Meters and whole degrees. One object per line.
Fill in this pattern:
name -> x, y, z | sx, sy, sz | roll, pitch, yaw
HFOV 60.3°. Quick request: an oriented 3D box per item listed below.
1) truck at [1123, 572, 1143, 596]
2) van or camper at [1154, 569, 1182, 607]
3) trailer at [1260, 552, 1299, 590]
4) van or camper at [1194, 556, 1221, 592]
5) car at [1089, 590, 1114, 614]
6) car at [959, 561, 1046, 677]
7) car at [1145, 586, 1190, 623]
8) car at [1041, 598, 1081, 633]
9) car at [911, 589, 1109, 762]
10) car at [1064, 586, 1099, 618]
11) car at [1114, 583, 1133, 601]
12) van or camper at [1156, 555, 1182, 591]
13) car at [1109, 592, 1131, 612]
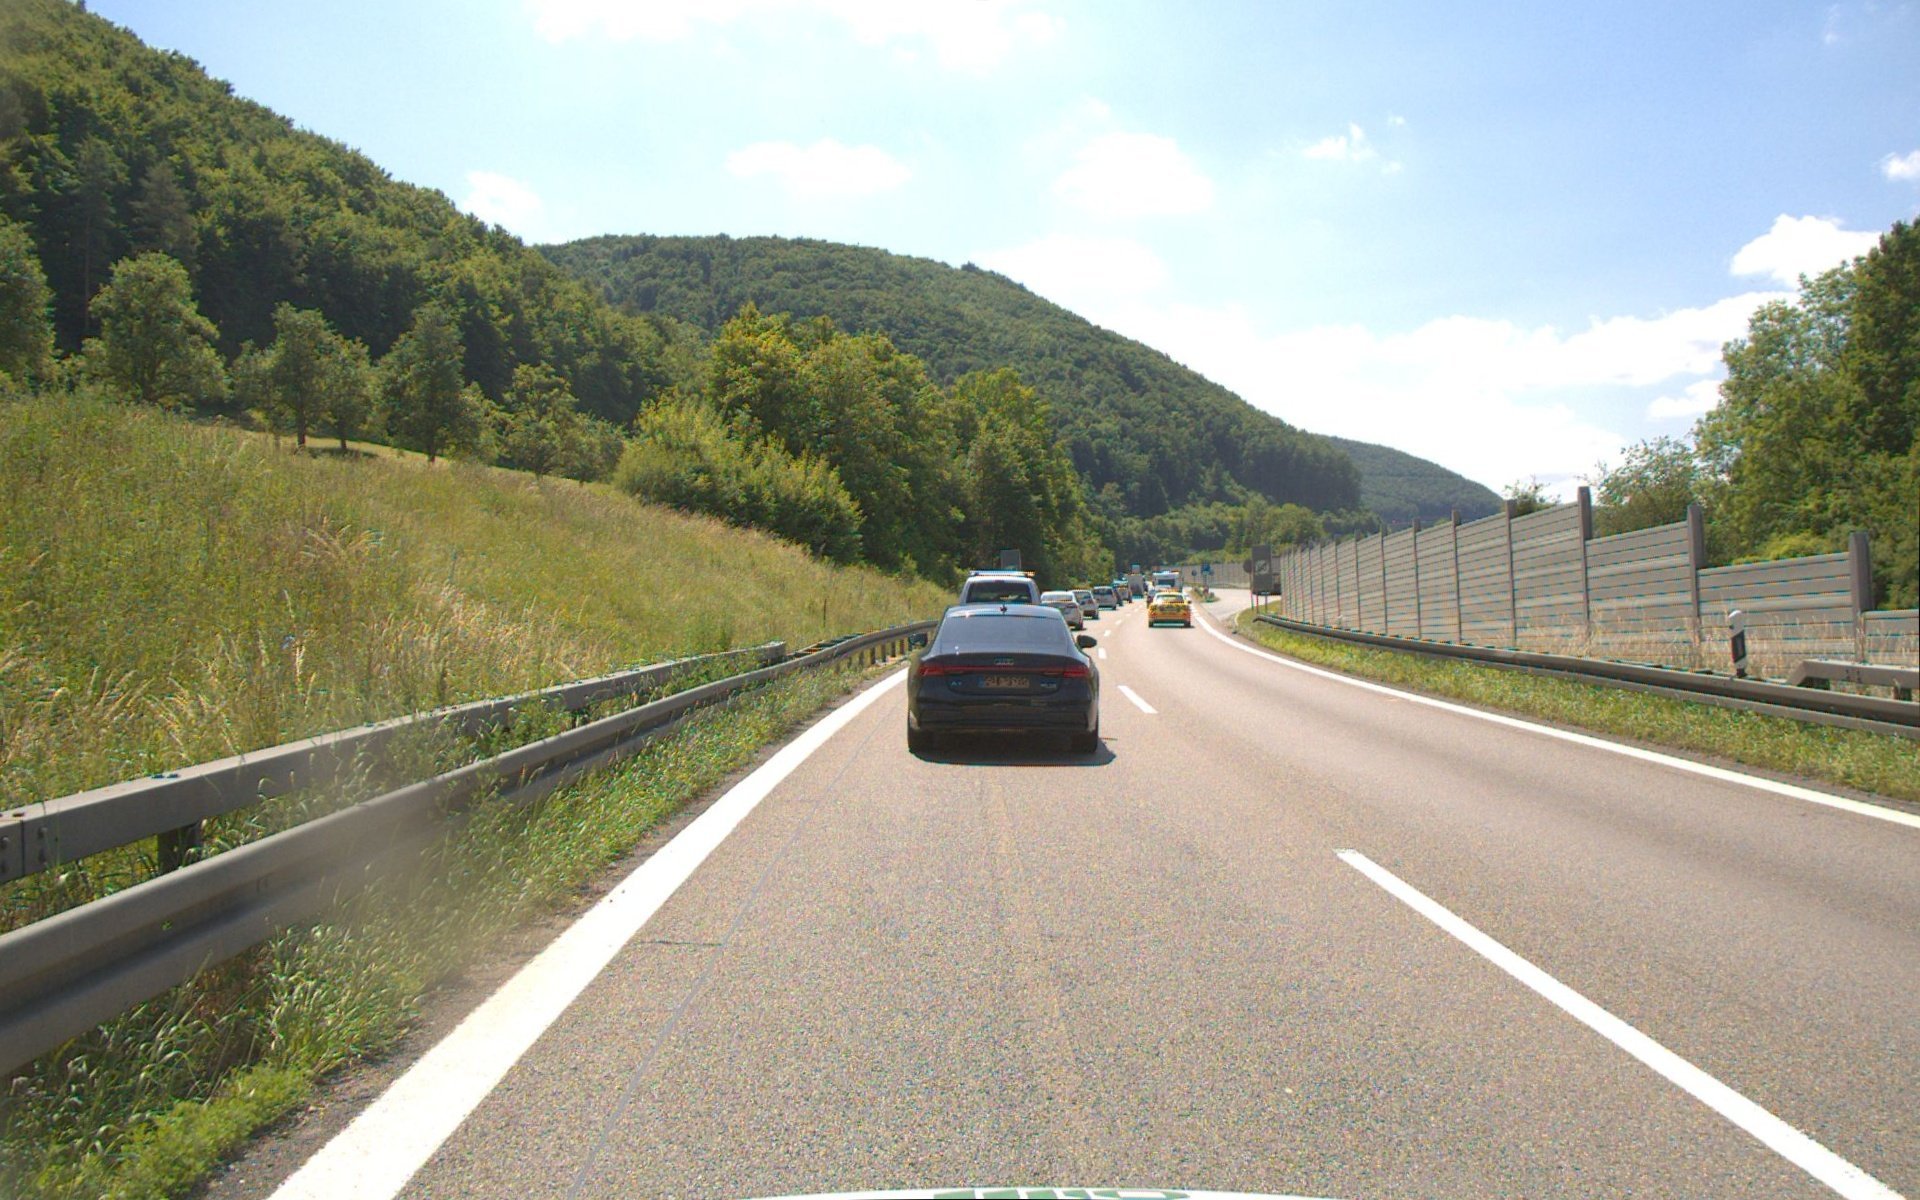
truck -> 20.476, -1.864, 195.385 | 2.020, 2.651, 5.619 | 2, 0, 9
van or camper -> 18.551, -1.042, 147.227 | 2.378, 3.210, 5.207 | 1, 0, 8
trailer -> 33.942, -3.055, 176.259 | 3.339, 3.968, 11.160 | 0, 1, 7
van or camper -> 27.867, -2.944, 186.439 | 2.735, 3.908, 6.171 | 1, 0, 6
car -> 9.872, 0.111, 115.129 | 1.489, 1.580, 3.517 | 2, 0, 9
car -> 0.798, 0.324, 31.096 | 1.490, 2.002, 3.515 | 2, 0, 1
car -> 8.863, 0.181, 70.458 | 1.839, 1.525, 4.003 | 0, 0, 8
car -> 3.976, 0.579, 64.771 | 1.489, 1.317, 3.516 | 0, 0, 5
car -> 0.452, 0.671, 16.605 | 1.775, 1.541, 3.514 | 0, 0, 0
car -> 6.212, 0.090, 84.402 | 1.489, 1.580, 3.517 | 2, 0, 8
car -> 15.232, -0.744, 153.813 | 1.489, 1.580, 3.517 | 2, 0, 9
van or camper -> 24.201, -3.055, 191.668 | 2.735, 3.975, 6.171 | 1, 0, 6
car -> 12.931, 0.173, 133.344 | 1.488, 1.580, 3.517 | 2, 0, 10
